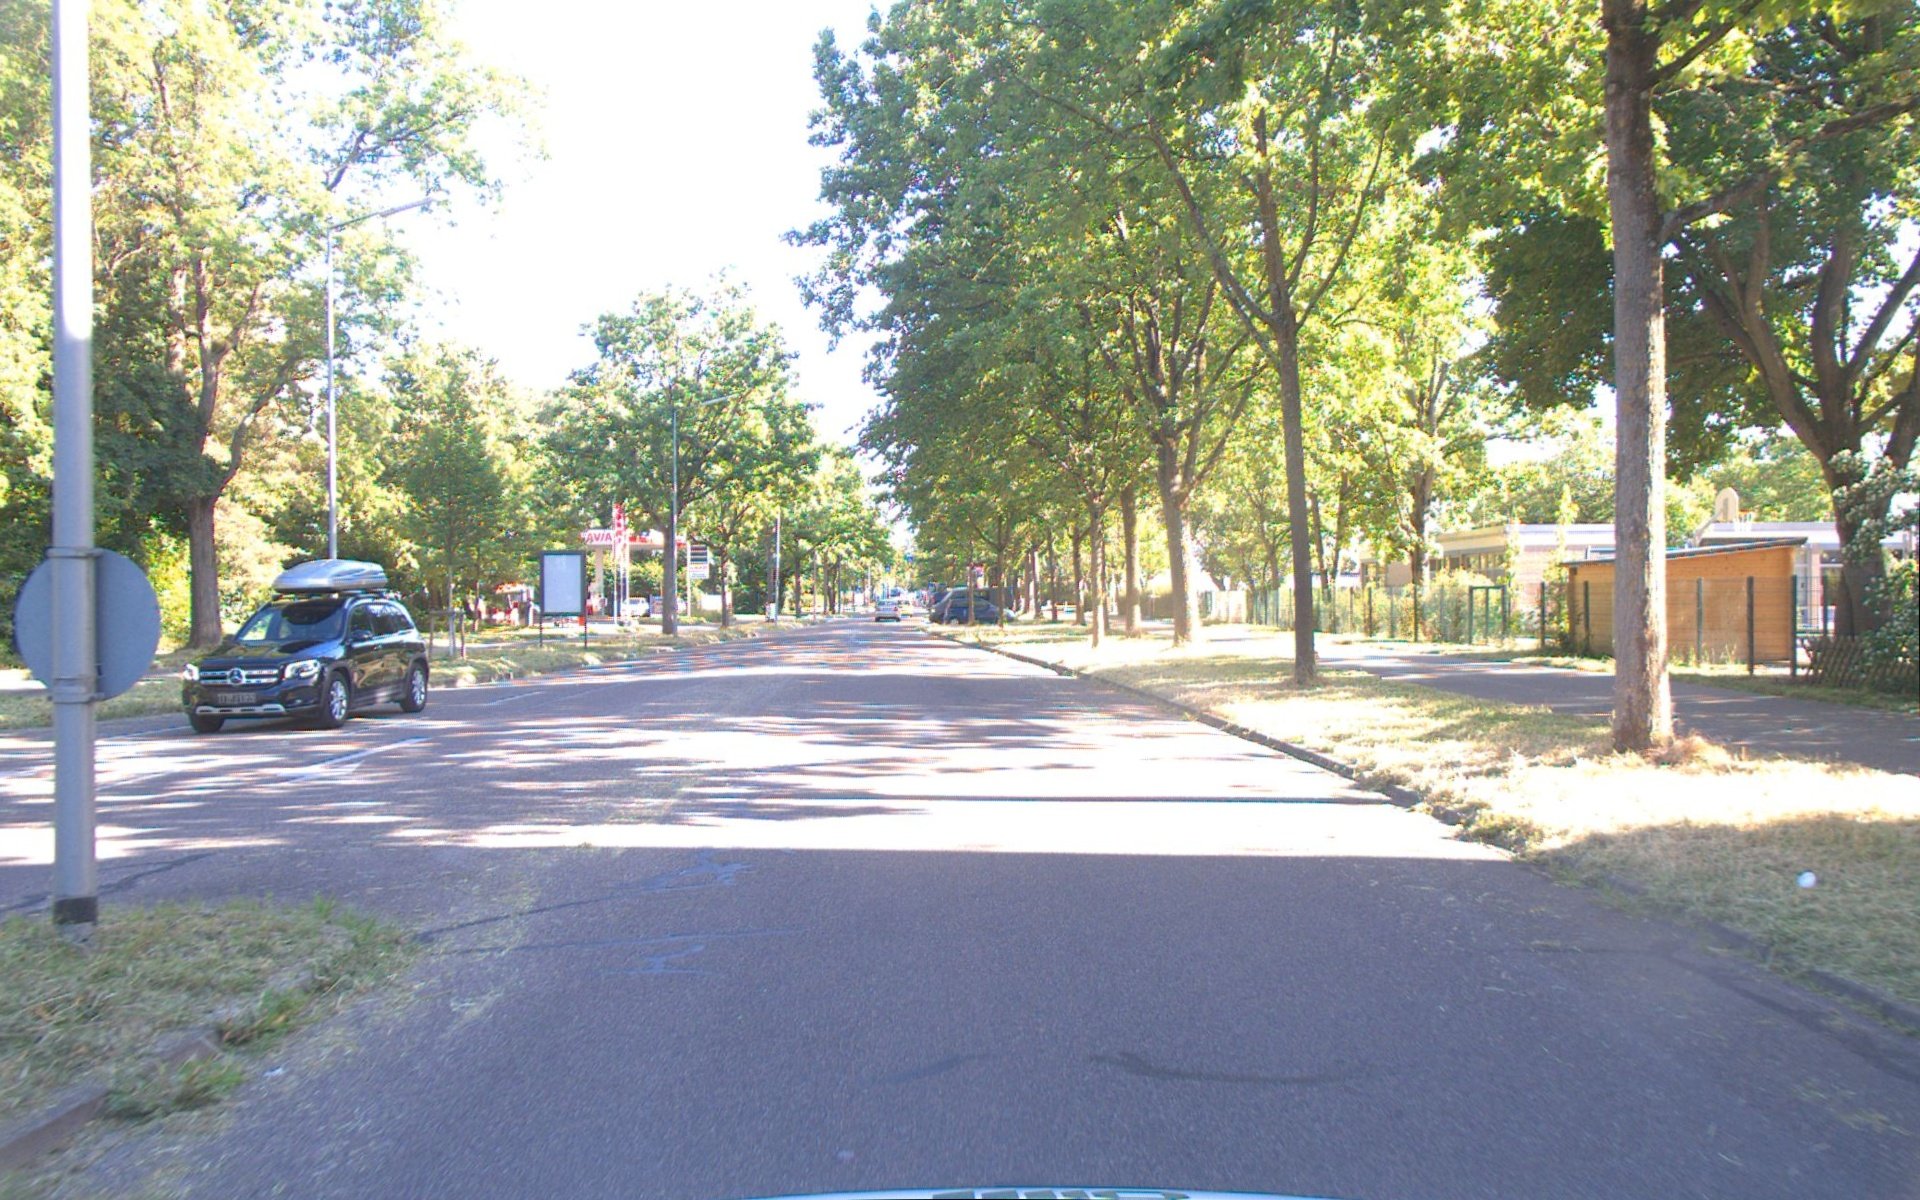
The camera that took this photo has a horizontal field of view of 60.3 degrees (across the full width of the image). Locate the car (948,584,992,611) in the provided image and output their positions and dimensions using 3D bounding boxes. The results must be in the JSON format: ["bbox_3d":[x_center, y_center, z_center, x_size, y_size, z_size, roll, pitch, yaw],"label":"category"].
[{"bbox_3d":[0.808,-0.200,135.715,3.496,2.087,1.632,-1,-3,-3],"label":"car"}]

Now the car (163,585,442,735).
[{"bbox_3d":[-8.540,0.714,21.953,1.801,1.738,4.505,-2,0,1],"label":"car"}]

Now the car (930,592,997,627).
[{"bbox_3d":[0.175,0.521,89.662,3.580,1.829,1.317,-1,-1,-3],"label":"car"}]

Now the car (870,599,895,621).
[{"bbox_3d":[-5.227,0.704,111.489,1.628,1.360,3.663,-1,-1,-3],"label":"car"}]

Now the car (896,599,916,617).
[{"bbox_3d":[-4.467,0.641,136.082,1.628,1.360,3.663,-1,-1,-3],"label":"car"}]

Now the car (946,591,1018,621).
[{"bbox_3d":[1.095,0.301,84.233,3.580,1.422,1.317,-1,-1,-3],"label":"car"}]

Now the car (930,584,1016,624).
[{"bbox_3d":[0.661,0.222,87.197,4.412,1.987,1.686,-1,-1,-3],"label":"car"}]

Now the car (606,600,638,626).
[{"bbox_3d":[-24.719,0.960,121.193,1.765,1.855,3.801,-1,-1,-4],"label":"car"}]
